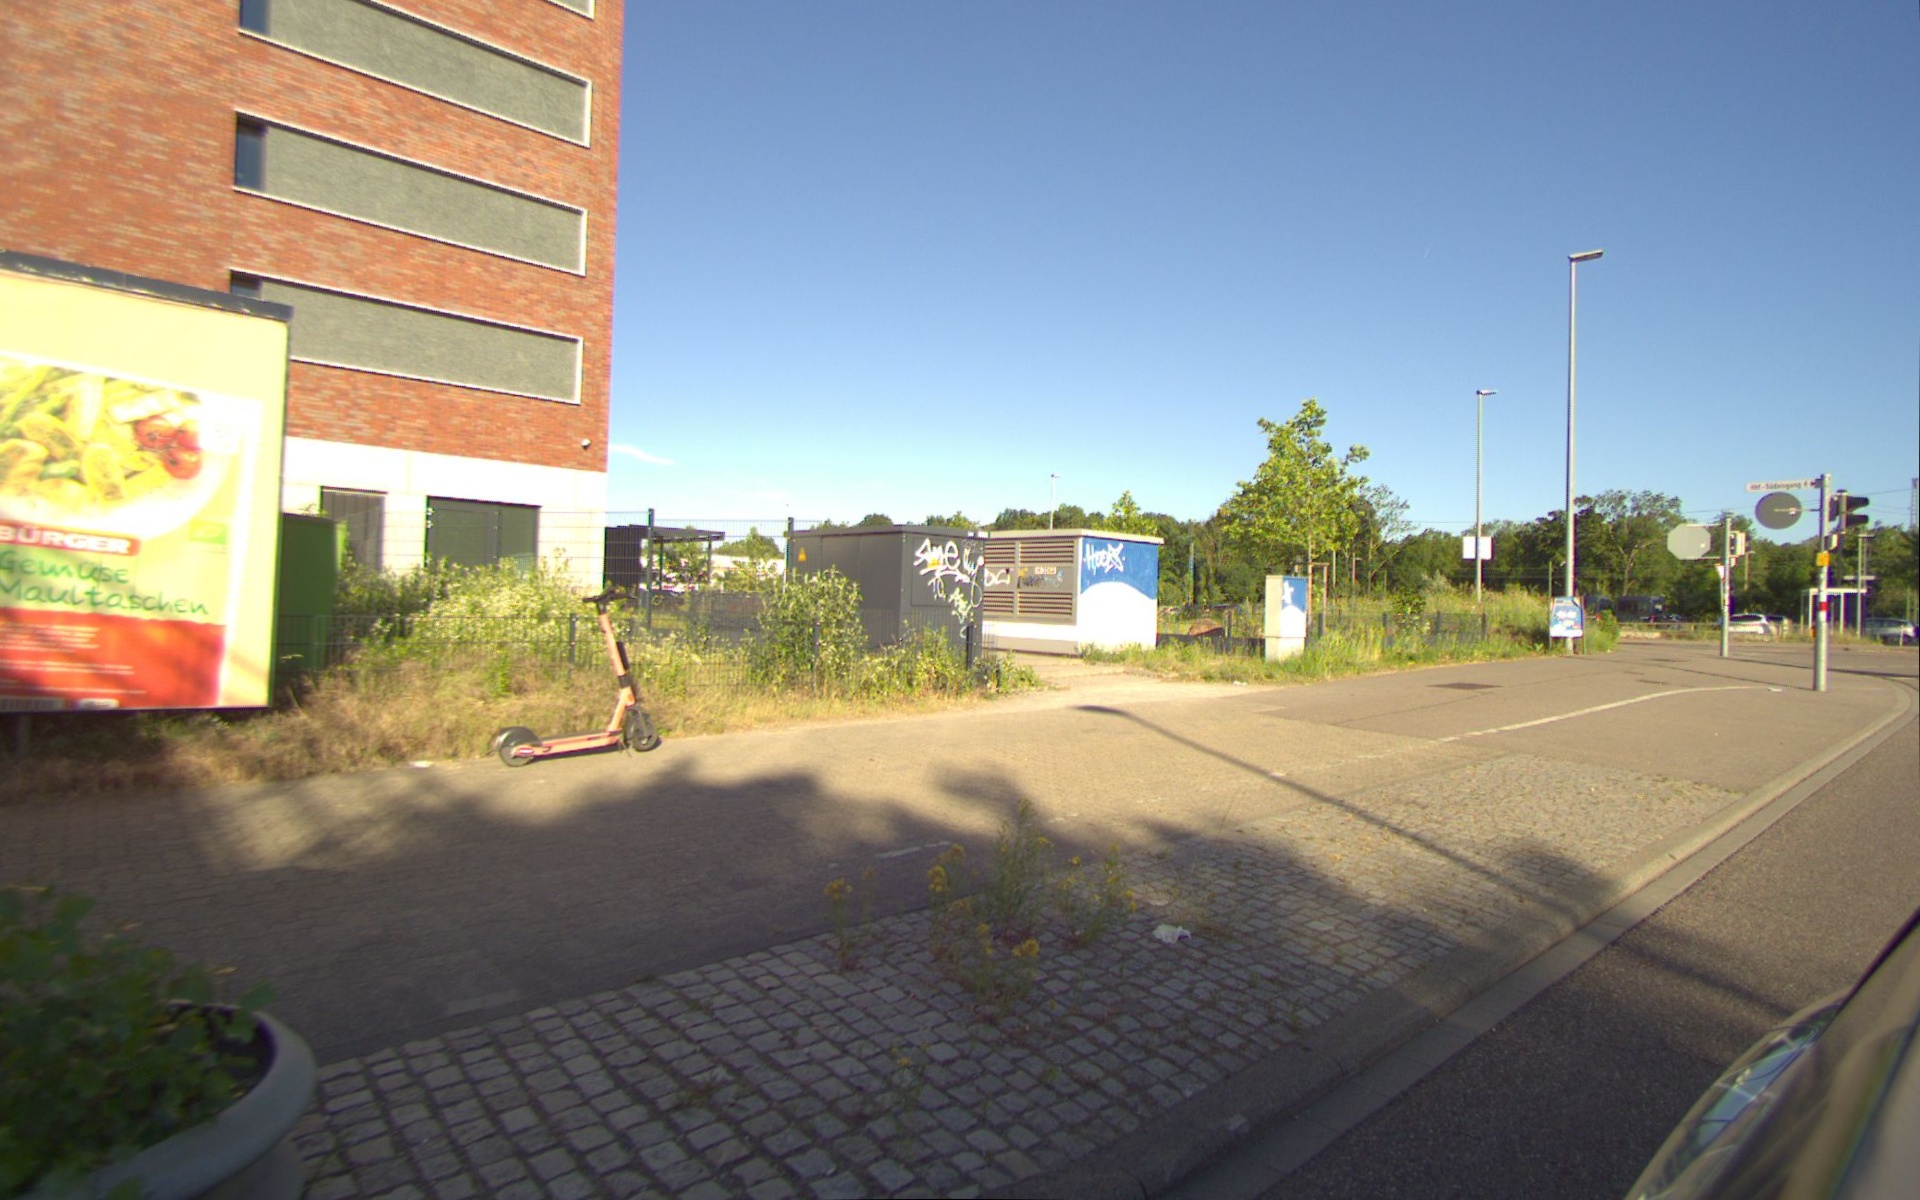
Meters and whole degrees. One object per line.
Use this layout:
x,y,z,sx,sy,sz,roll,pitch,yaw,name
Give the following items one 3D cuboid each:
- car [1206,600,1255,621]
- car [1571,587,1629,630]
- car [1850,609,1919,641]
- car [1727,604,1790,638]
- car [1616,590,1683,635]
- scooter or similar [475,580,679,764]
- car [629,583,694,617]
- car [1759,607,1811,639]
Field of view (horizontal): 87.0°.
21.635,0.800,80.899,1.981,1.609,4.135,0,0,44,car
39.052,0.514,61.752,2.122,2.499,4.409,0,-1,44,car
53.299,1.413,58.078,2.155,1.752,4.452,1,0,26,car
38.179,0.982,48.353,4.203,1.530,1.886,1,-1,-44,car
40.952,0.735,60.086,2.394,2.549,5.423,0,-1,44,car
-2.744,0.476,7.309,1.268,1.212,0.538,1,0,-41,scooter or similar
-18.630,-0.016,63.205,3.425,2.047,1.832,1,-1,-43,car
49.032,1.321,60.103,4.134,1.831,1.981,1,0,-45,car
